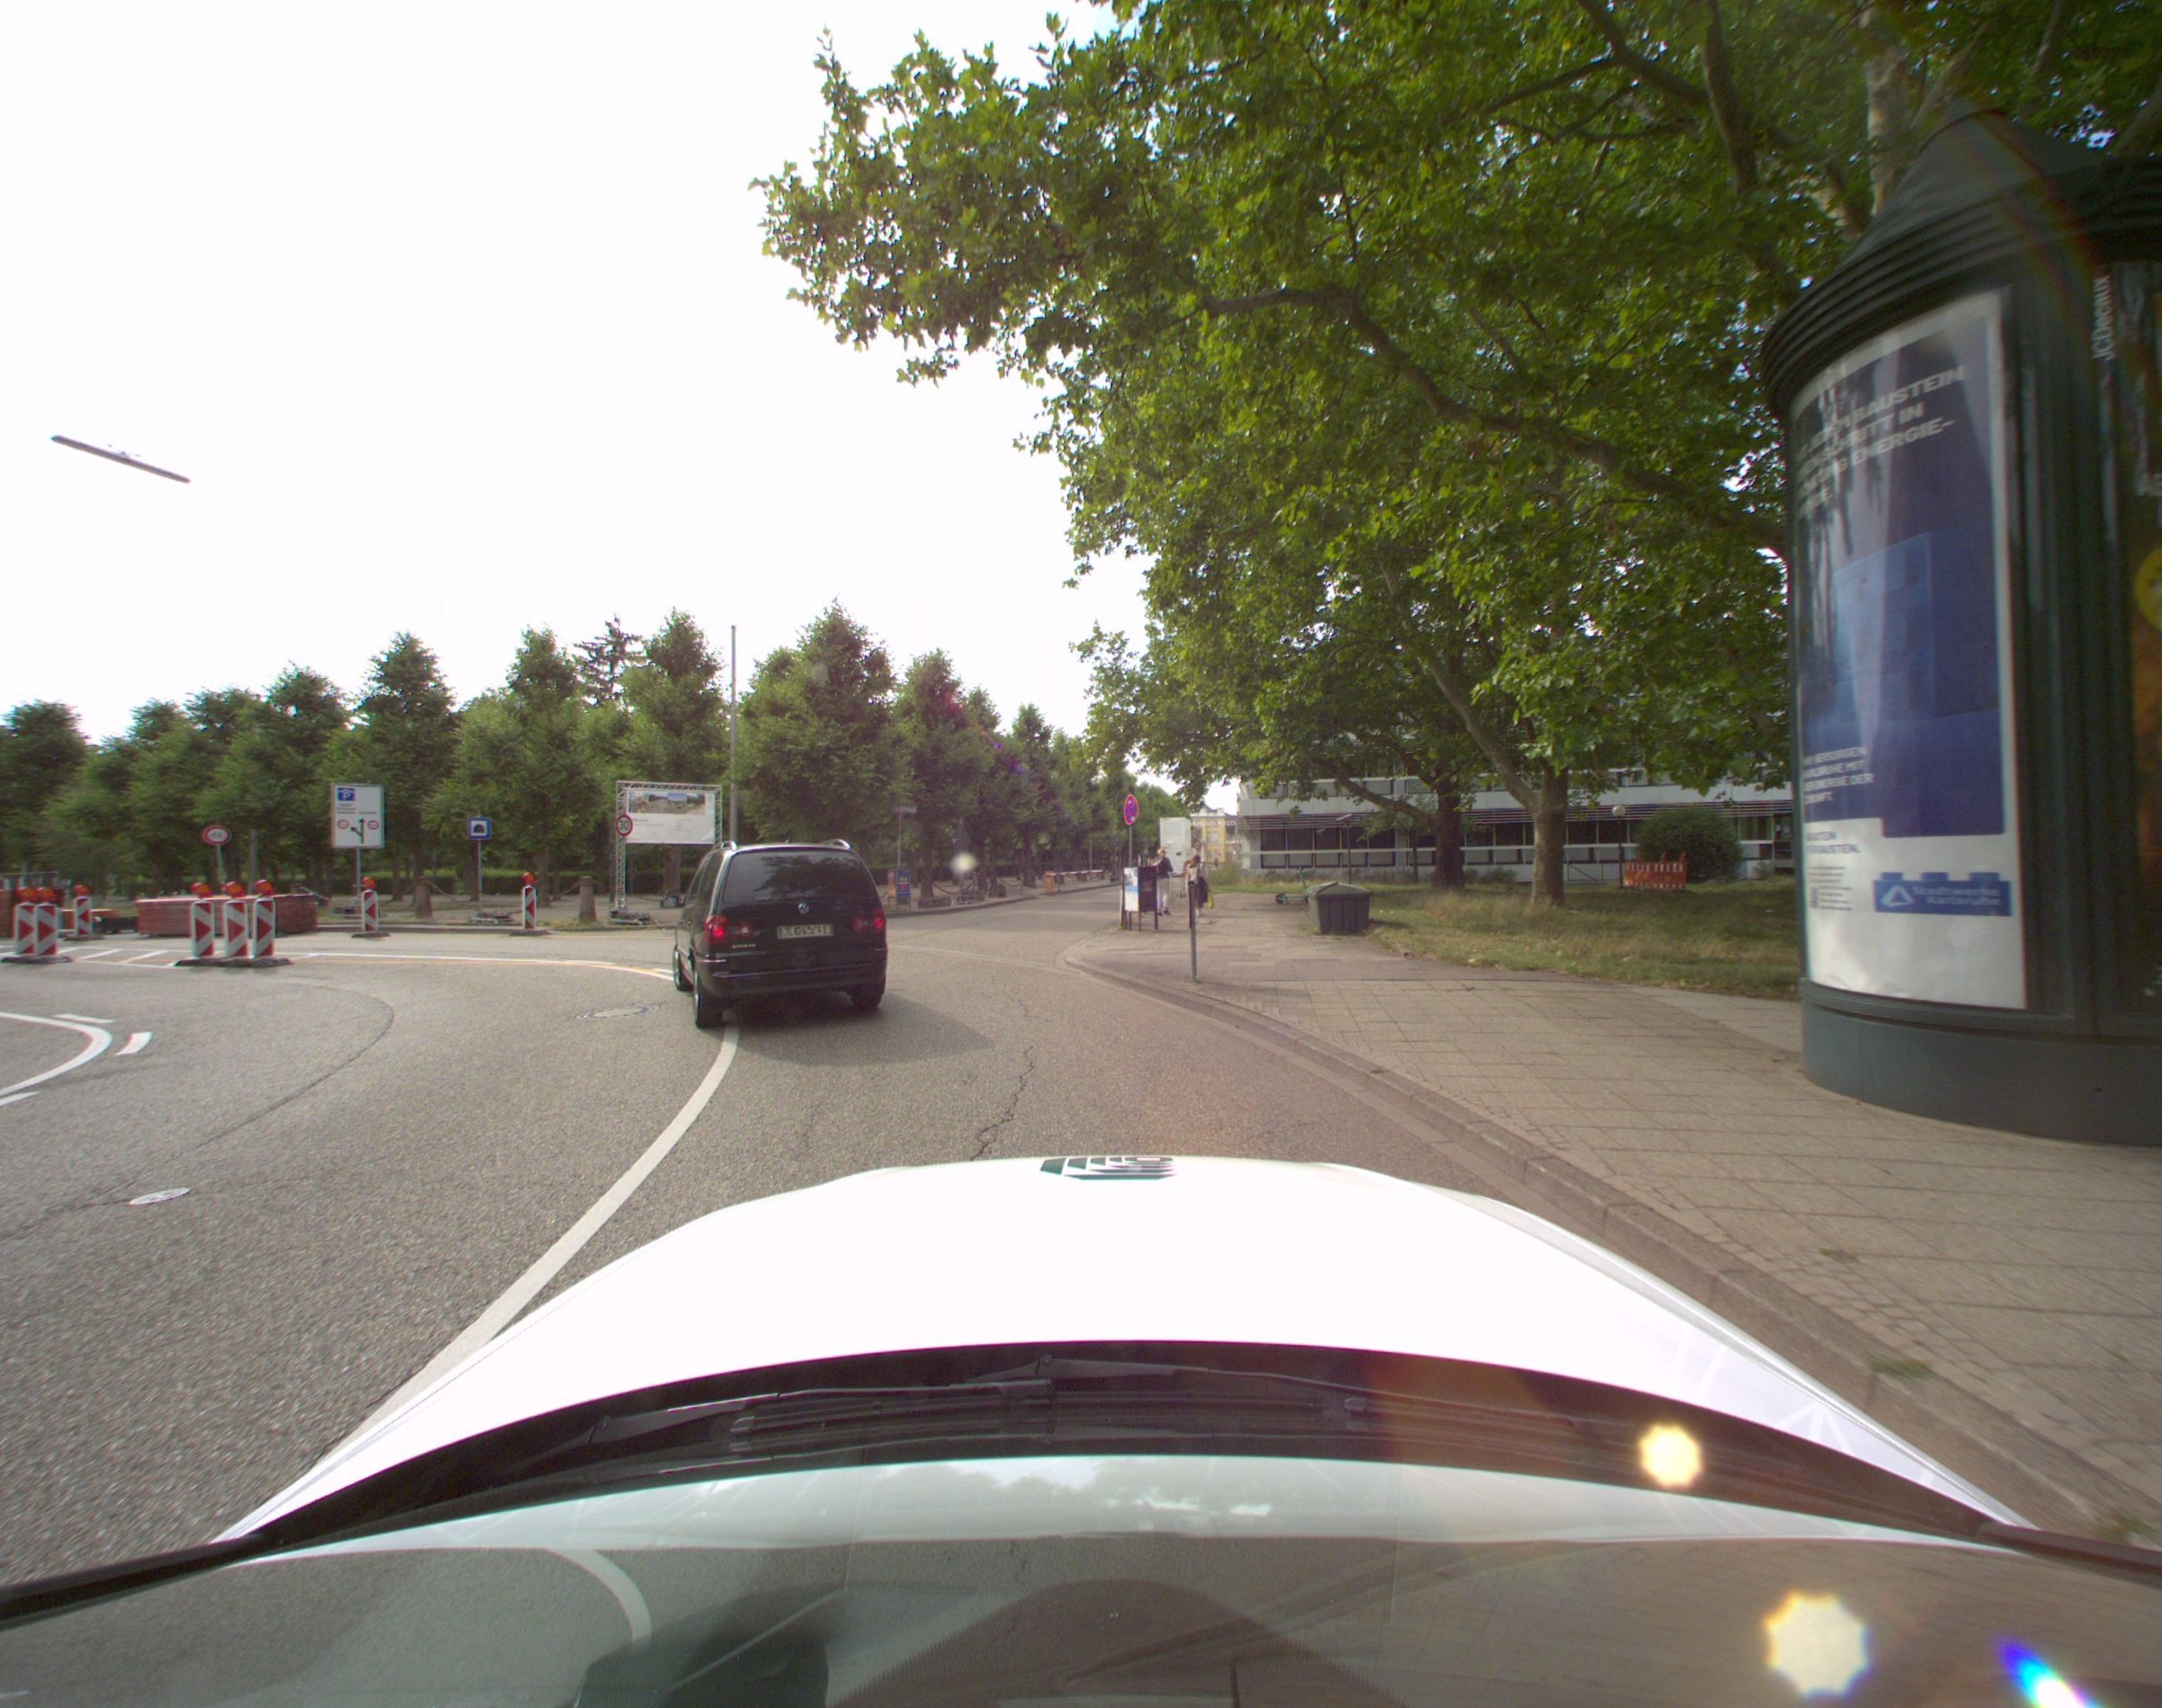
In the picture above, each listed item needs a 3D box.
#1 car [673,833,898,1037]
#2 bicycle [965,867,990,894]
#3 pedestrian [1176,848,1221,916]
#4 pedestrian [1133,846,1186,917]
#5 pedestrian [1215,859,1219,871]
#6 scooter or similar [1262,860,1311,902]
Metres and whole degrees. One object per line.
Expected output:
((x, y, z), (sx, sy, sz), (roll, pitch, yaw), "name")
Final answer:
((-3.504, 0.708, 9.140), (1.804, 1.708, 4.093), (-1, 0, -28), "car")
((-4.501, 1.147, 35.712), (0.950, 1.110, 2.575), (0, 0, -5), "bicycle")
((2.944, 0.685, 20.404), (0.887, 1.641, 0.857), (0, 0, 27), "pedestrian")
((2.004, 0.665, 20.744), (0.951, 1.741, 1.263), (0, 0, 26), "pedestrian")
((19.375, 1.561, 116.227), (0.458, 1.625, 0.632), (0, 0, -1), "pedestrian")
((6.373, 0.833, 25.304), (1.441, 1.269, 0.571), (0, 0, 8), "scooter or similar")
